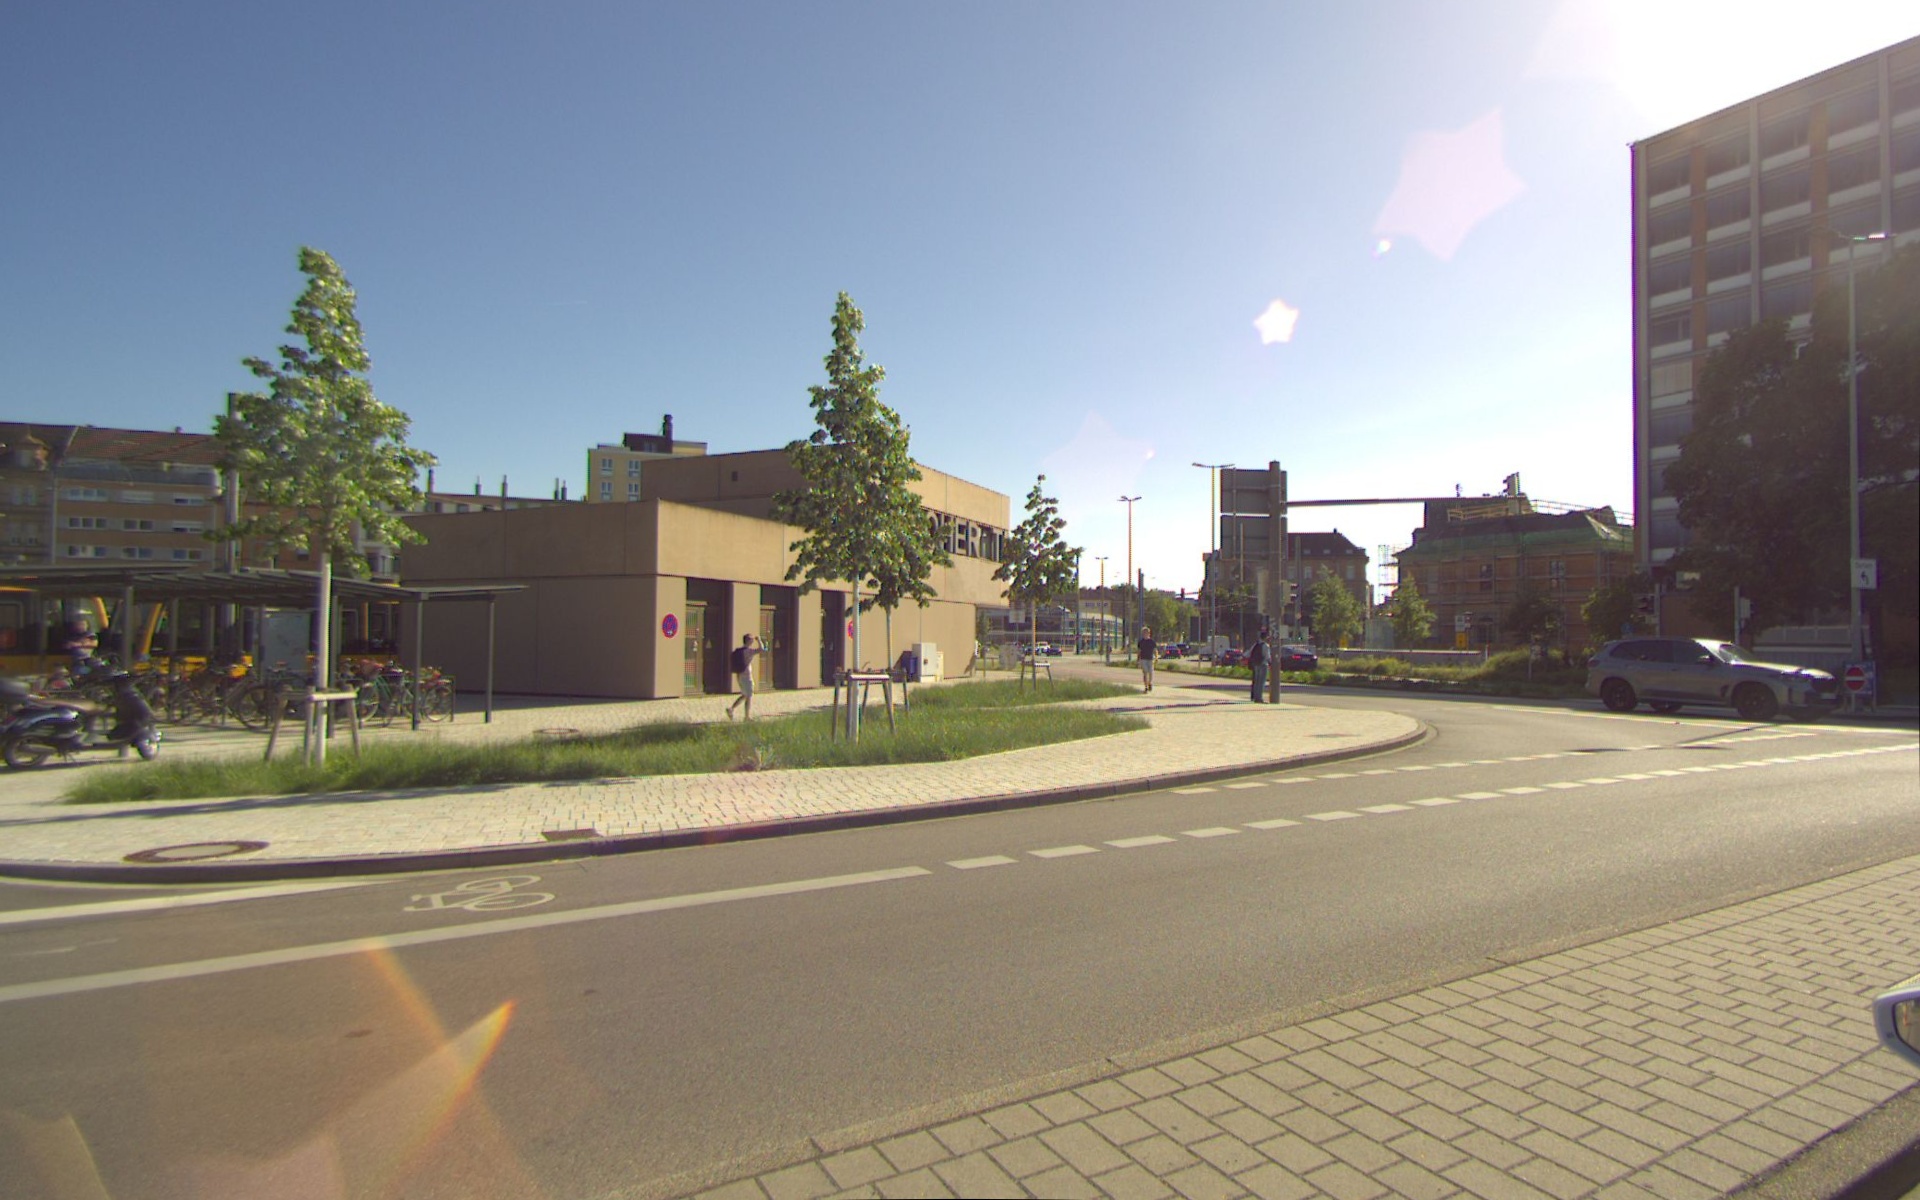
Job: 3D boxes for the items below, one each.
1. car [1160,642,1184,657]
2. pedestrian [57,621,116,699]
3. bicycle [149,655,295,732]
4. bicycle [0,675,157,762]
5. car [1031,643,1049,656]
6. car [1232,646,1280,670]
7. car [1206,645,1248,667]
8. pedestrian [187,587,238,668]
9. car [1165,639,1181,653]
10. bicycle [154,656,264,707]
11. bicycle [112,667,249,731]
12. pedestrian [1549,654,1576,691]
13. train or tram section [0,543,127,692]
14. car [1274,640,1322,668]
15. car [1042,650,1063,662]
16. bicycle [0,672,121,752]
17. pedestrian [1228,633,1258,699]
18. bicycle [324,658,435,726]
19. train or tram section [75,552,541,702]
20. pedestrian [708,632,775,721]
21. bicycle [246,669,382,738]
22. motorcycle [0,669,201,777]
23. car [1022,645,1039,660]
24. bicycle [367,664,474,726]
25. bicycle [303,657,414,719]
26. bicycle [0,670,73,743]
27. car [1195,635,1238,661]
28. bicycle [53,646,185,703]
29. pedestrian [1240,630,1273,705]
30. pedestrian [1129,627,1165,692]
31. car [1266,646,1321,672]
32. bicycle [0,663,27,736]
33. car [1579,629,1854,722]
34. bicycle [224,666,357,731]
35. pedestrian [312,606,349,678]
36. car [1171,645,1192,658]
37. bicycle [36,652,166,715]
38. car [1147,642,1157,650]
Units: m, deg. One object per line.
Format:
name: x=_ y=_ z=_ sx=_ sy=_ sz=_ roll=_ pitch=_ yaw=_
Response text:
car: x=24.017 y=5.637 z=113.814 sx=2.059 sy=1.602 sz=4.862 roll=0 pitch=-2 yaw=5
pedestrian: x=-19.300 y=1.305 z=22.199 sx=0.593 sy=1.681 sz=0.772 roll=0 pitch=-2 yaw=23
bicycle: x=-12.895 y=1.602 z=17.629 sx=0.496 sy=1.225 sz=2.051 roll=0 pitch=-2 yaw=26
bicycle: x=-12.045 y=1.561 z=13.521 sx=0.617 sy=1.021 sz=1.829 roll=0 pitch=-2 yaw=25
car: x=10.942 y=6.727 z=137.396 sx=1.865 sy=1.728 sz=4.003 roll=0 pitch=-2 yaw=15
car: x=20.276 y=3.944 z=68.998 sx=1.962 sy=1.538 sz=3.818 roll=1 pitch=-2 yaw=-4
car: x=20.046 y=4.214 z=75.505 sx=1.962 sy=1.538 sz=3.818 roll=1 pitch=-2 yaw=-4
pedestrian: x=-17.672 y=0.663 z=23.773 sx=0.738 sy=1.880 sz=0.709 roll=1 pitch=-2 yaw=-19
car: x=33.372 y=7.221 z=157.069 sx=2.025 sy=2.039 sz=4.003 roll=-4 pitch=-5 yaw=17
bicycle: x=-16.265 y=1.736 z=21.804 sx=0.617 sy=1.021 sz=1.829 roll=0 pitch=-2 yaw=25
bicycle: x=-13.872 y=1.744 z=17.938 sx=0.617 sy=1.021 sz=1.828 roll=0 pitch=-2 yaw=27
pedestrian: x=34.079 y=4.097 z=56.827 sx=0.996 sy=2.040 sz=0.825 roll=1 pitch=-2 yaw=-6
train or tram section: x=-26.155 y=0.309 z=21.857 sx=2.779 sy=3.648 sz=12.320 roll=0 pitch=-2 yaw=24
car: x=25.988 y=4.115 z=77.456 sx=2.031 sy=2.040 sz=5.016 roll=0 pitch=-2 yaw=0
car: x=11.108 y=6.710 z=120.540 sx=1.961 sy=1.407 sz=4.000 roll=0 pitch=-3 yaw=-3
bicycle: x=-13.128 y=1.560 z=14.073 sx=0.617 sy=1.021 sz=2.026 roll=0 pitch=-2 yaw=25
pedestrian: x=7.583 y=1.758 z=26.925 sx=0.594 sy=1.719 sz=0.634 roll=1 pitch=-2 yaw=-7
bicycle: x=-10.749 y=1.679 z=18.684 sx=0.616 sy=1.161 sz=1.831 roll=0 pitch=-2 yaw=18
train or tram section: x=-18.744 y=0.884 z=30.670 sx=2.702 sy=3.648 sz=12.318 roll=0 pitch=-2 yaw=25
pedestrian: x=-4.377 y=1.504 z=20.129 sx=0.828 sy=1.727 sz=1.018 roll=-1 pitch=-2 yaw=45
bicycle: x=-10.679 y=1.681 z=16.684 sx=0.617 sy=1.021 sz=1.828 roll=0 pitch=-2 yaw=27
motorcycle: x=-10.927 y=1.481 z=12.476 sx=0.599 sy=1.173 sz=2.360 roll=0 pitch=-2 yaw=25
car: x=8.962 y=6.620 z=127.491 sx=1.960 sy=1.814 sz=4.001 roll=0 pitch=-2 yaw=1
bicycle: x=-9.830 y=1.712 z=18.384 sx=0.616 sy=1.021 sz=1.832 roll=0 pitch=-2 yaw=16
bicycle: x=-11.753 y=1.690 z=19.689 sx=0.617 sy=1.107 sz=1.829 roll=0 pitch=-2 yaw=25
bicycle: x=-14.112 y=1.552 z=14.513 sx=0.617 sy=1.021 sz=1.829 roll=0 pitch=-2 yaw=25
car: x=26.765 y=4.984 z=105.057 sx=2.953 sy=2.580 sz=6.961 roll=0 pitch=-2 yaw=2
bicycle: x=-16.000 y=1.394 z=19.167 sx=0.617 sy=1.021 sz=1.828 roll=0 pitch=-2 yaw=27
pedestrian: x=7.575 y=1.705 z=25.648 sx=0.594 sy=1.880 sz=0.681 roll=1 pitch=-2 yaw=-7
pedestrian: x=5.439 y=1.715 z=29.287 sx=0.826 sy=1.869 sz=0.866 roll=1 pitch=-2 yaw=-7
car: x=20.801 y=3.662 z=62.734 sx=1.962 sy=1.538 sz=3.818 roll=1 pitch=-2 yaw=-4
bicycle: x=-15.279 y=1.518 z=15.012 sx=0.617 sy=1.094 sz=1.829 roll=0 pitch=-2 yaw=25
car: x=17.069 y=1.628 z=23.009 sx=1.975 sy=1.885 sz=4.720 roll=1 pitch=-2 yaw=-21
bicycle: x=-11.622 y=1.682 z=17.500 sx=0.492 sy=1.010 sz=1.887 roll=0 pitch=-2 yaw=31
pedestrian: x=-16.544 y=1.101 z=26.405 sx=0.671 sy=1.880 sz=0.602 roll=1 pitch=-2 yaw=-19
car: x=27.573 y=6.422 z=125.237 sx=2.024 sy=1.458 sz=4.060 roll=0 pitch=-2 yaw=4
bicycle: x=-16.918 y=1.613 z=19.829 sx=0.617 sy=1.146 sz=1.828 roll=0 pitch=-2 yaw=27
car: x=42.665 y=10.164 z=223.200 sx=1.959 sy=1.695 sz=4.003 roll=0 pitch=-2 yaw=13
